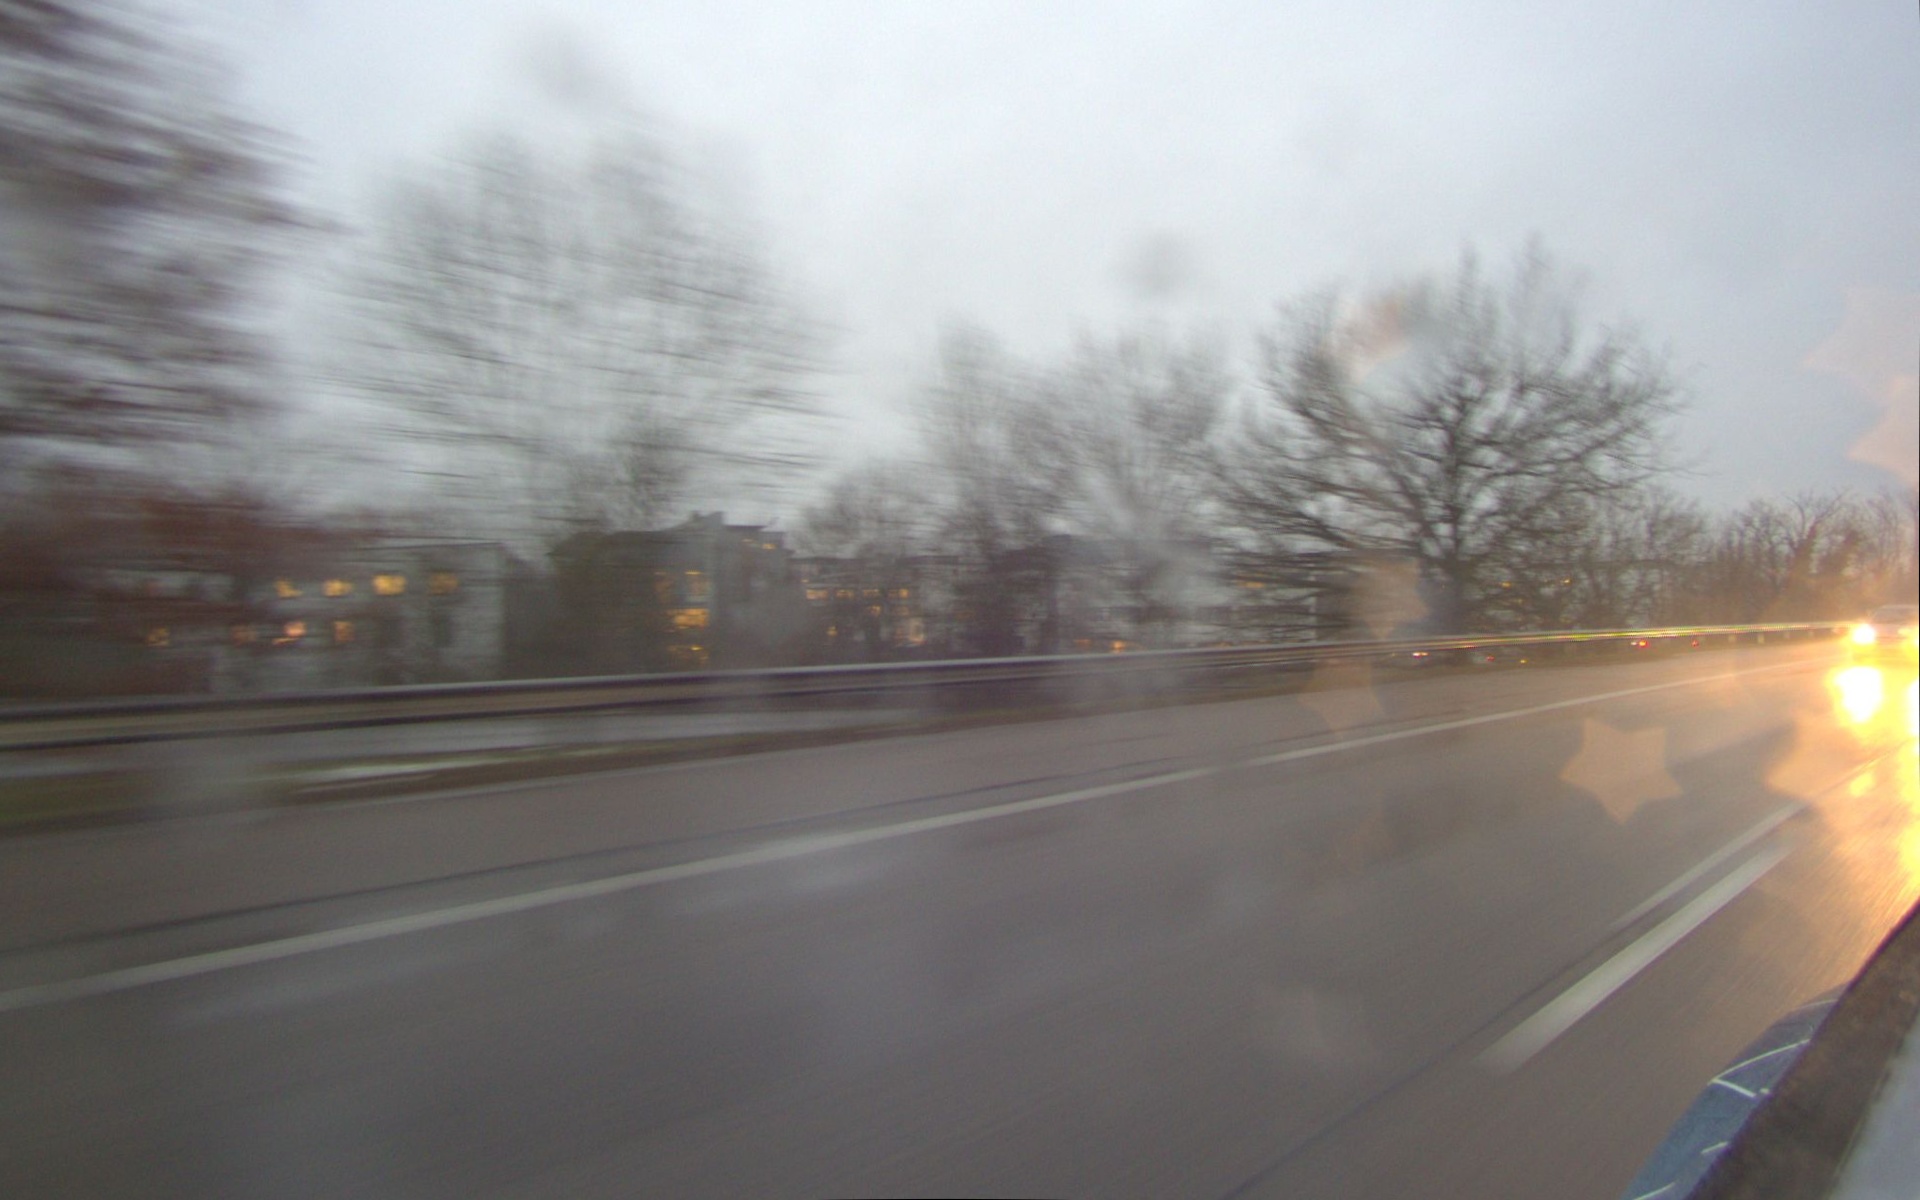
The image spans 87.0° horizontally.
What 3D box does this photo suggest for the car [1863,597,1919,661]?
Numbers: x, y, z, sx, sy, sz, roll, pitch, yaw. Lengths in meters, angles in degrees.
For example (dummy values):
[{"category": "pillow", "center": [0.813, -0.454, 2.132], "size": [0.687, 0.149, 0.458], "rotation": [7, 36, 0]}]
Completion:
[{"category": "car", "center": [24.830, 0.707, 25.980], "size": [4.074, 1.549, 1.849], "rotation": [0, 0, -39]}]
